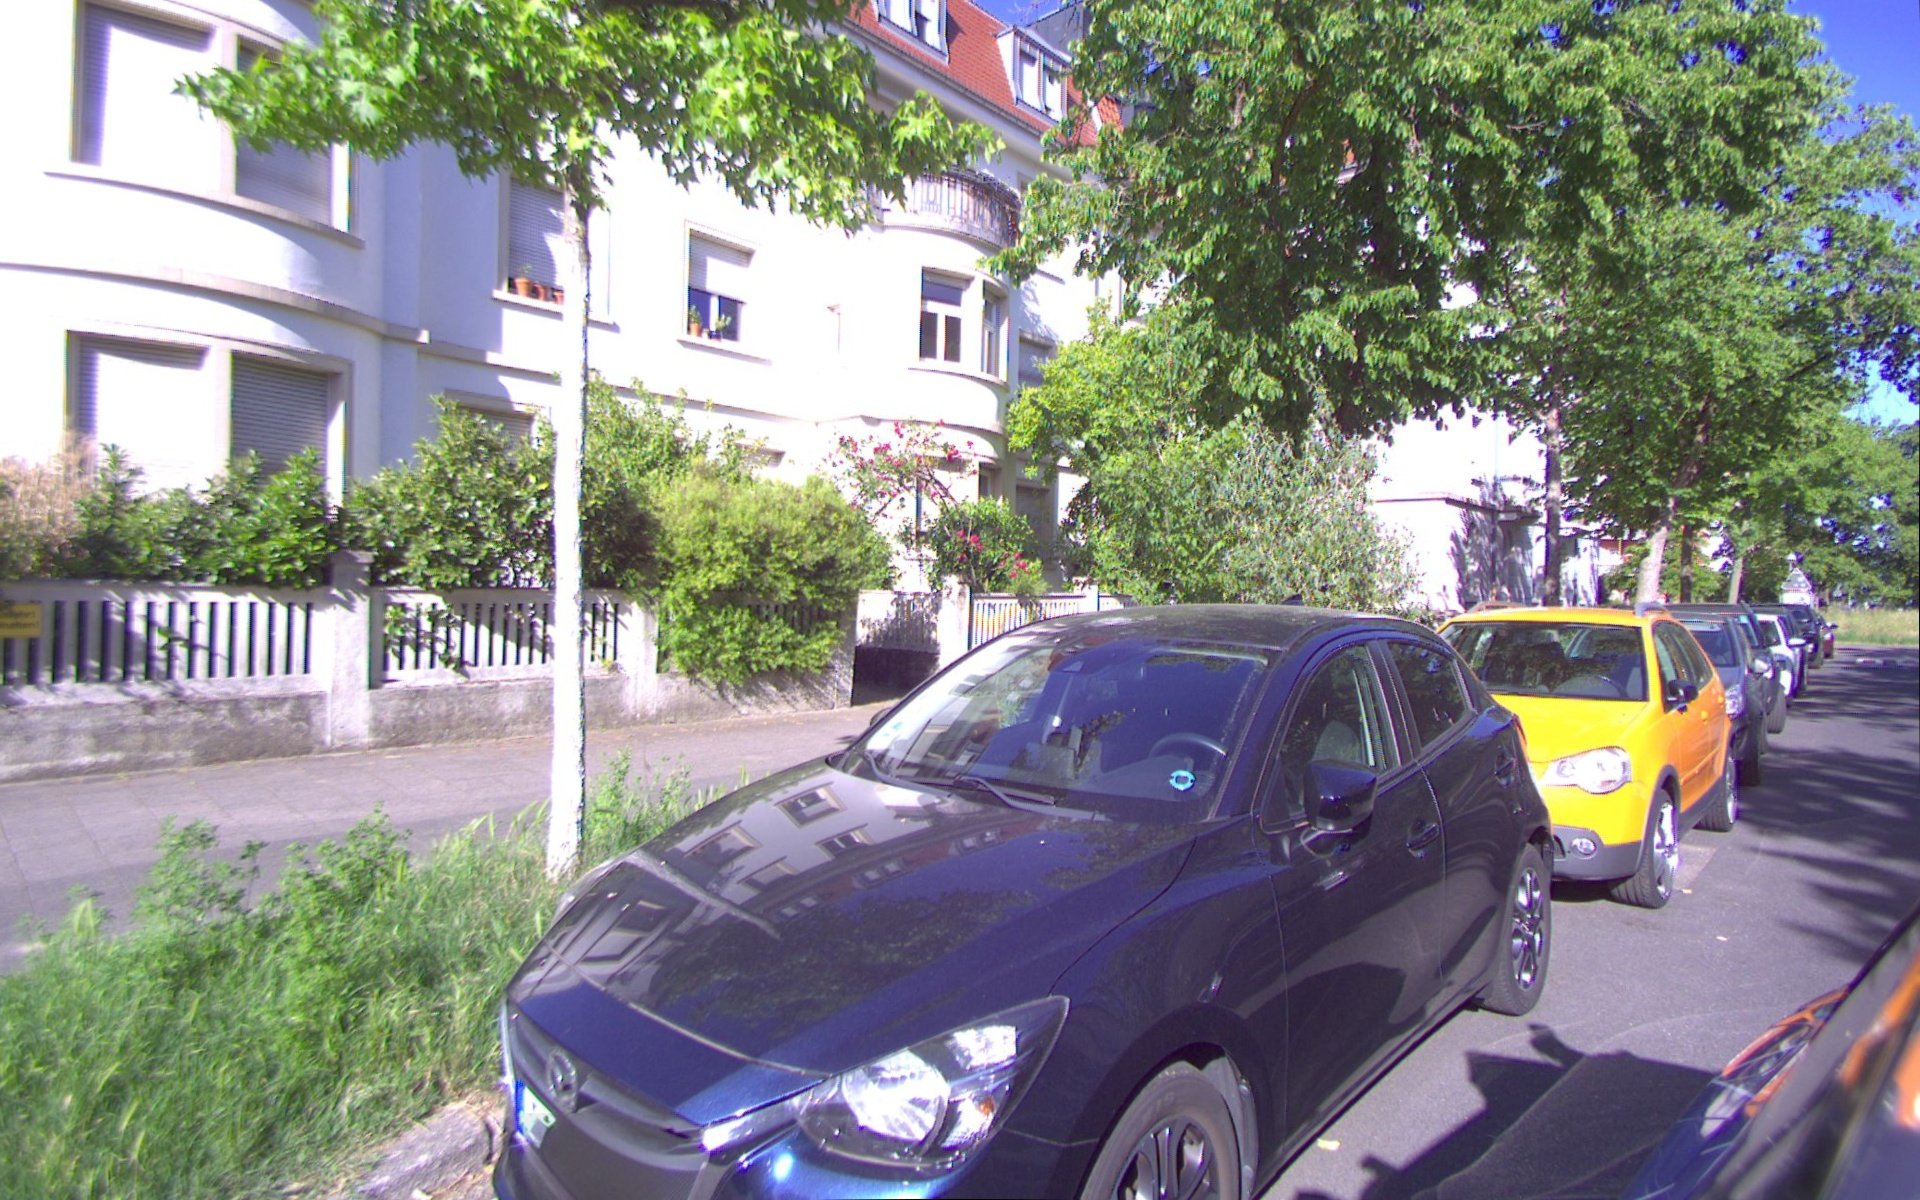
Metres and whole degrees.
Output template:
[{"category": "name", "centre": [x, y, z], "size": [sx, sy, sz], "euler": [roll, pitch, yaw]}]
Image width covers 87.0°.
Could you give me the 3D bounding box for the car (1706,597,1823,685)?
[{"category": "car", "centre": [16.580, 0.764, 20.781], "size": [1.682, 1.608, 4.468], "euler": [-1, -1, 41]}]

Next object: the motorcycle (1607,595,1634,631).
[{"category": "motorcycle", "centre": [26.126, 0.522, 40.031], "size": [0.539, 1.378, 2.057], "euler": [1, 1, 42]}]

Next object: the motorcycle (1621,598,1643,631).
[{"category": "motorcycle", "centre": [27.713, 0.577, 41.727], "size": [0.655, 1.295, 1.777], "euler": [4, 2, 36]}]

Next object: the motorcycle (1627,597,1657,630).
[{"category": "motorcycle", "centre": [29.011, 0.570, 43.034], "size": [0.968, 1.345, 1.828], "euler": [1, 1, 37]}]

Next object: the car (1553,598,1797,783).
[{"category": "car", "centre": [7.257, 0.743, 10.140], "size": [1.648, 1.446, 3.559], "euler": [3, 1, 40]}]

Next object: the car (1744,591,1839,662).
[{"category": "car", "centre": [22.687, 0.677, 27.556], "size": [1.780, 1.719, 4.232], "euler": [2, 1, 42]}]

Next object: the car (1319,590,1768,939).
[{"category": "car", "centre": [3.920, 0.717, 6.437], "size": [1.636, 1.473, 4.036], "euler": [2, 1, 42]}]

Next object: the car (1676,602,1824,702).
[{"category": "car", "centre": [13.619, 0.793, 17.354], "size": [1.629, 1.442, 4.300], "euler": [3, 2, 43]}]

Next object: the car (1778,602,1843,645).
[{"category": "car", "centre": [30.541, 0.802, 36.302], "size": [1.652, 1.419, 4.073], "euler": [2, 1, 42]}]

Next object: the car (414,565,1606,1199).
[{"category": "car", "centre": [0.683, 0.691, 3.315], "size": [1.700, 1.467, 4.018], "euler": [3, 1, 43]}]

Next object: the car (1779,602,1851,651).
[{"category": "car", "centre": [27.485, 0.815, 32.636], "size": [1.608, 1.427, 4.290], "euler": [2, 1, 39]}]

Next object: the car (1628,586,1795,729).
[{"category": "car", "centre": [10.478, 0.676, 14.034], "size": [1.646, 1.676, 3.792], "euler": [1, 1, 39]}]
